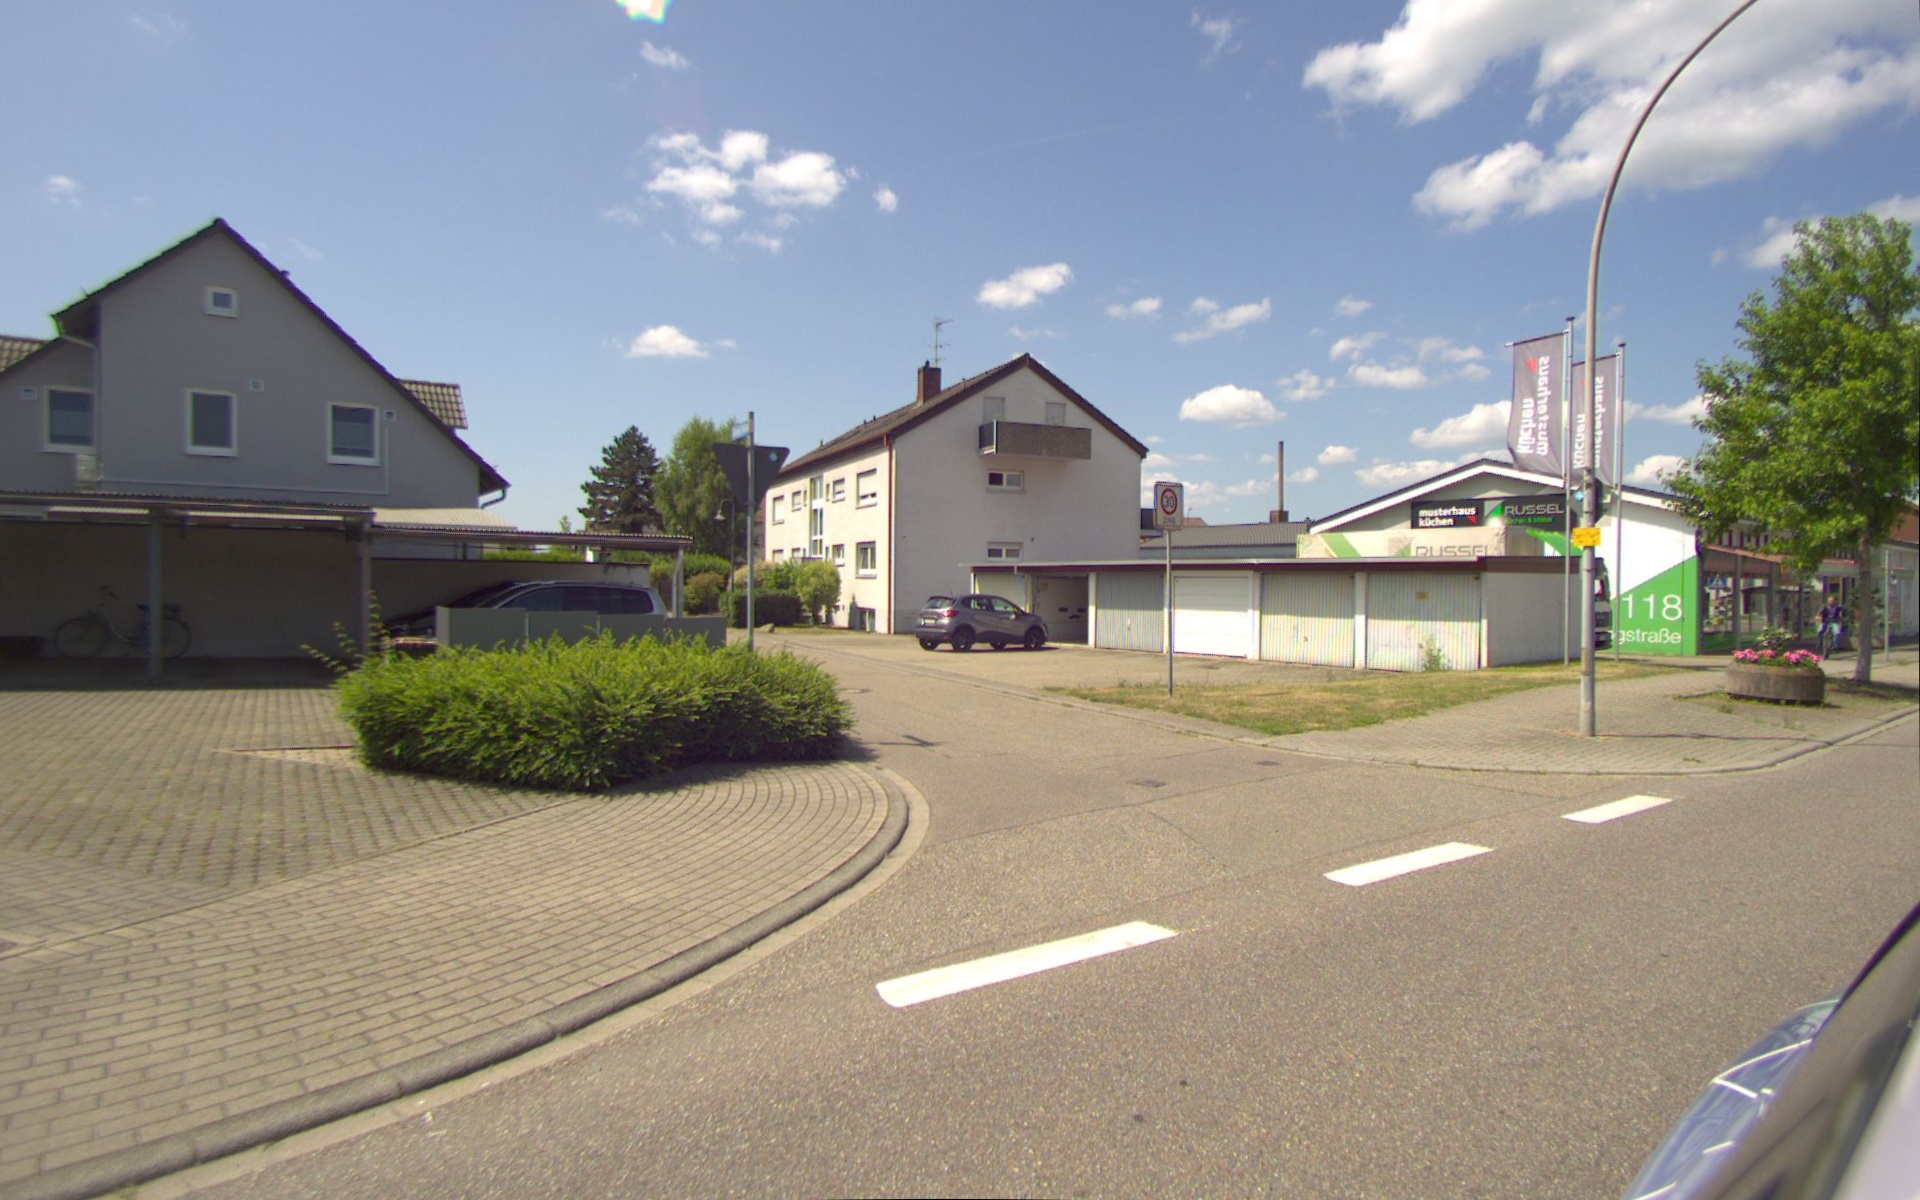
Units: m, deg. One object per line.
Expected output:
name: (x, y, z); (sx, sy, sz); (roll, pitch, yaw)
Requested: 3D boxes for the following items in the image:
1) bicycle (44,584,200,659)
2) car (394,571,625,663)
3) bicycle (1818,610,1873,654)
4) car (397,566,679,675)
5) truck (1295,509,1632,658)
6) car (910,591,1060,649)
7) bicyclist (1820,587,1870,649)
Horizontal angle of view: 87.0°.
bicycle: (-14.012, 0.366, 16.999); (1.915, 1.187, 0.650); (3, -1, -35)
car: (-8.714, 0.352, 19.675); (3.780, 1.607, 1.742); (3, 0, -36)
bicycle: (24.369, 0.875, 27.839); (1.908, 1.180, 0.805); (2, -3, -39)
car: (-7.191, 0.371, 17.409); (4.135, 1.669, 1.742); (3, 0, -36)
truck: (13.819, -0.454, 28.584); (2.630, 3.617, 8.189); (-1, 1, -39)
car: (0.737, 0.515, 28.351); (4.055, 1.522, 1.680); (0, 1, -37)
bicyclist: (24.300, 0.509, 27.795); (1.091, 1.651, 0.805); (2, -3, -39)
